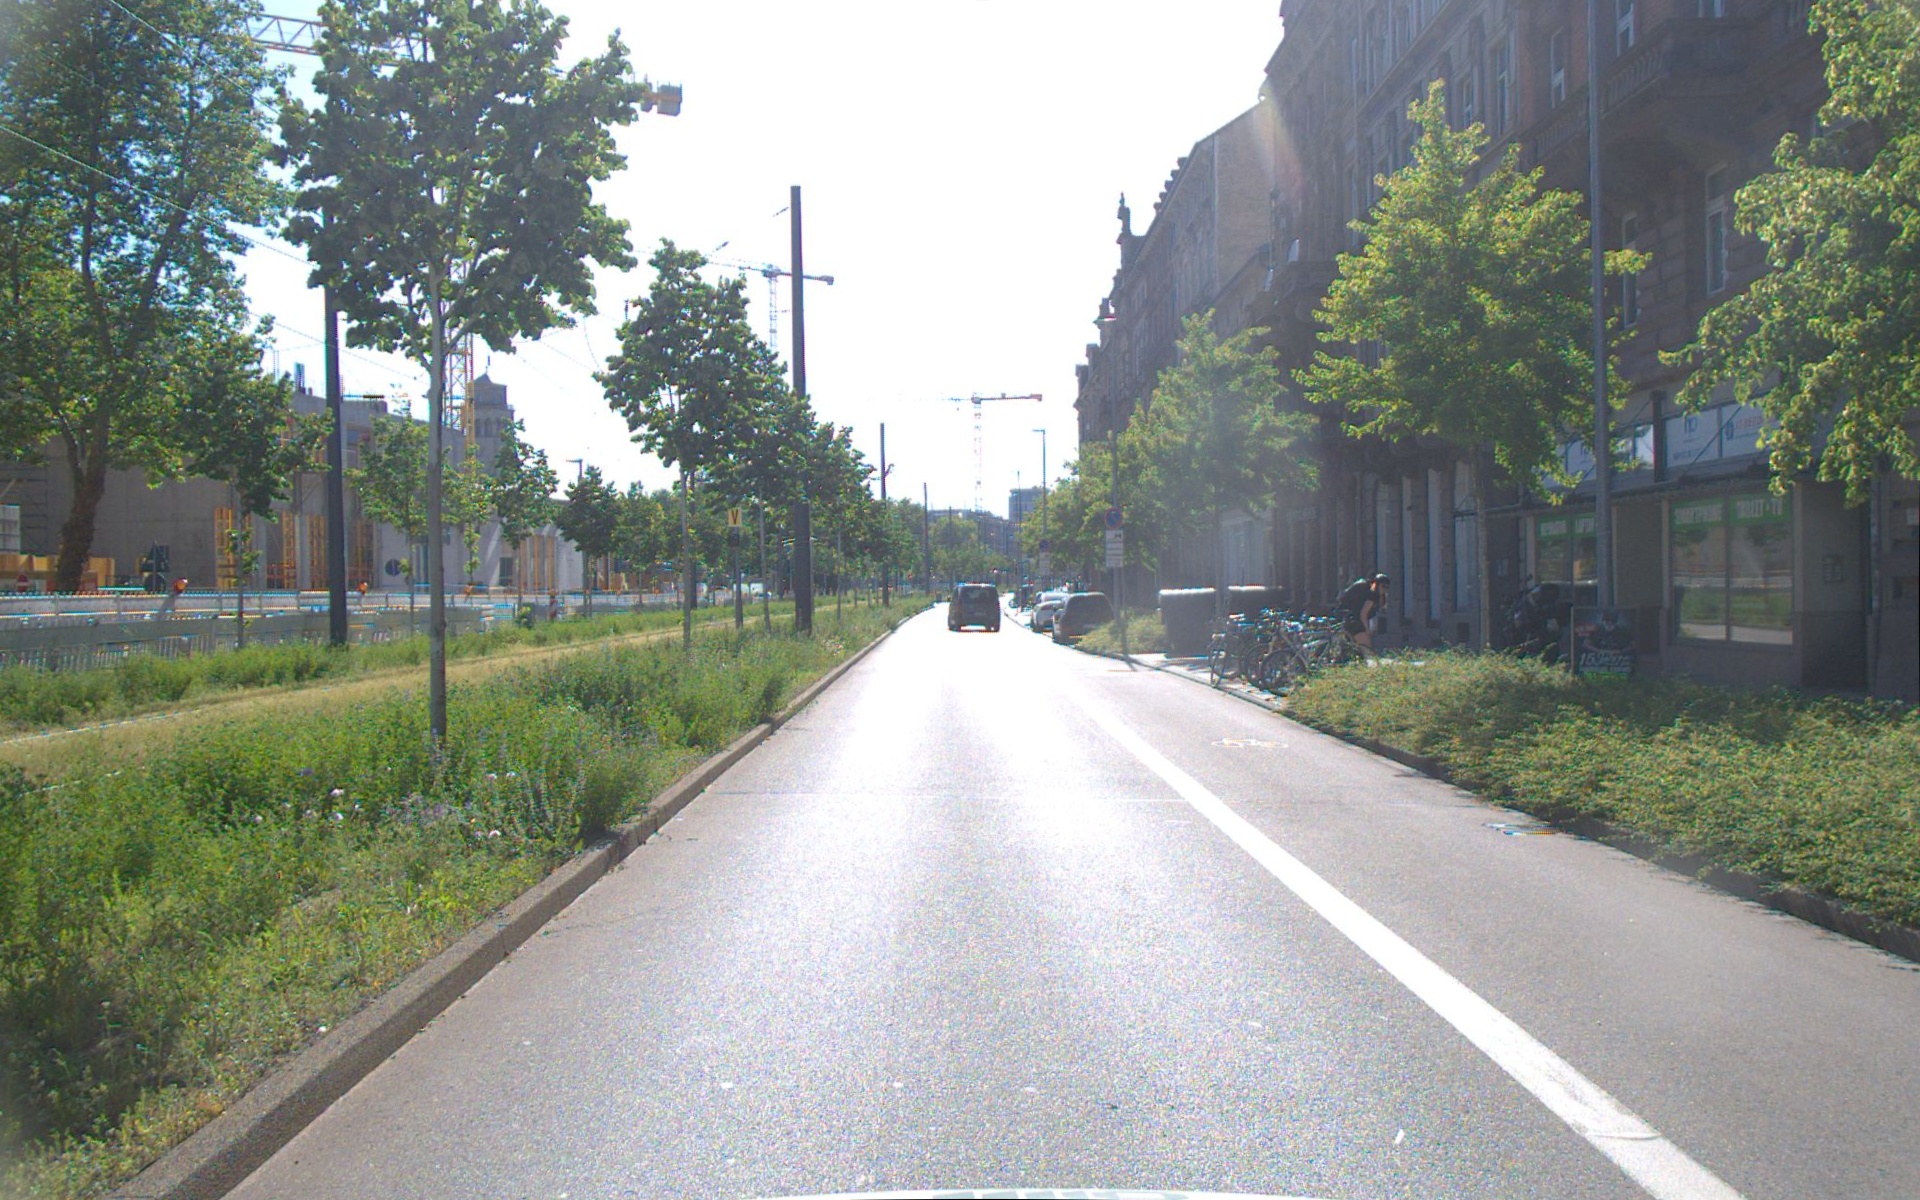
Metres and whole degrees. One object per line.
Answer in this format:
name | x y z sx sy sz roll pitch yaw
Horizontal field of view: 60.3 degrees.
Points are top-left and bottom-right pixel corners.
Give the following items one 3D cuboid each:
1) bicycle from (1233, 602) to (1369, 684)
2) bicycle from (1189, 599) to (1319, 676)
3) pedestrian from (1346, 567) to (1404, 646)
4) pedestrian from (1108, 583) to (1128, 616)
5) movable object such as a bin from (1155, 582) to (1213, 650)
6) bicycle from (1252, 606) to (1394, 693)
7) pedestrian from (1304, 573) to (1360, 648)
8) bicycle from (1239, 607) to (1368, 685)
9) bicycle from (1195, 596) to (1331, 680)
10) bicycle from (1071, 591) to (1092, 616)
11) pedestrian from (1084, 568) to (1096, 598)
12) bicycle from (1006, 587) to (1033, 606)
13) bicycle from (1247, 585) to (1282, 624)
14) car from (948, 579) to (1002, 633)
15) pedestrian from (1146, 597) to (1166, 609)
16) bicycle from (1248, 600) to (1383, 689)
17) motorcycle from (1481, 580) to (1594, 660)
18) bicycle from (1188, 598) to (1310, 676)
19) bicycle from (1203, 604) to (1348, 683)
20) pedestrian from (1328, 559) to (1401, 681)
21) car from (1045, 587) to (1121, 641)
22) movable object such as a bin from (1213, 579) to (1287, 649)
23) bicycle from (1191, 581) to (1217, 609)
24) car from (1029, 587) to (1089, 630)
bicycle | 5.182 0.647 25.152 1.938 1.127 0.435 -3 0 -4
bicycle | 4.923 0.621 27.742 2.005 1.126 0.610 -4 0 -7
pedestrian | 9.071 0.136 36.172 0.951 1.667 0.992 -2 1 -1
pedestrian | 8.518 -0.041 89.098 0.975 1.762 0.866 0 0 -1
movable object such as a bin | 5.186 0.361 38.400 1.244 1.488 1.645 0 2 4
bicycle | 5.115 0.690 23.335 1.855 1.128 0.517 -3 0 -6
pedestrian | 8.132 0.216 36.193 0.931 1.593 1.080 -2 1 -1
bicycle | 5.143 0.680 24.808 1.780 1.074 0.571 -3 0 -7
bicycle | 4.883 0.601 26.658 2.111 1.174 0.428 -4 1 -14
bicycle | 5.916 0.174 80.595 0.637 1.139 2.169 -2 0 -6
pedestrian | 9.251 -1.205 117.677 0.801 2.049 1.046 0 -2 0
bicycle | 4.381 -0.250 121.343 1.843 1.255 0.499 -3 0 -6
bicycle | 9.867 0.139 53.606 0.732 1.222 1.800 -2 0 -1
car | 0.569 0.238 65.565 1.954 2.049 3.998 0 0 -3
pedestrian | 10.020 0.144 84.635 0.757 0.562 2.007 -1 1 -1
bicycle | 5.090 0.631 23.689 1.829 1.199 0.373 -2 0 -4
motorcycle | 9.772 0.329 28.153 0.848 1.288 2.981 0 0 -1
bicycle | 4.914 0.626 28.150 1.937 1.143 0.481 -5 1 -6
bicycle | 5.025 0.679 26.316 2.247 1.121 0.484 -3 0 -15
pedestrian | 6.168 0.296 25.225 0.881 1.765 0.850 -4 0 19
car | 3.762 0.436 51.261 1.731 1.502 4.446 -3 0 -3
movable object such as a bin | 6.749 0.322 38.595 1.345 1.521 1.749 -3 0 0
bicycle | 9.993 -0.193 67.808 0.706 1.109 2.198 -2 0 0
car | 3.786 0.300 63.969 1.912 1.521 5.104 -3 0 0
